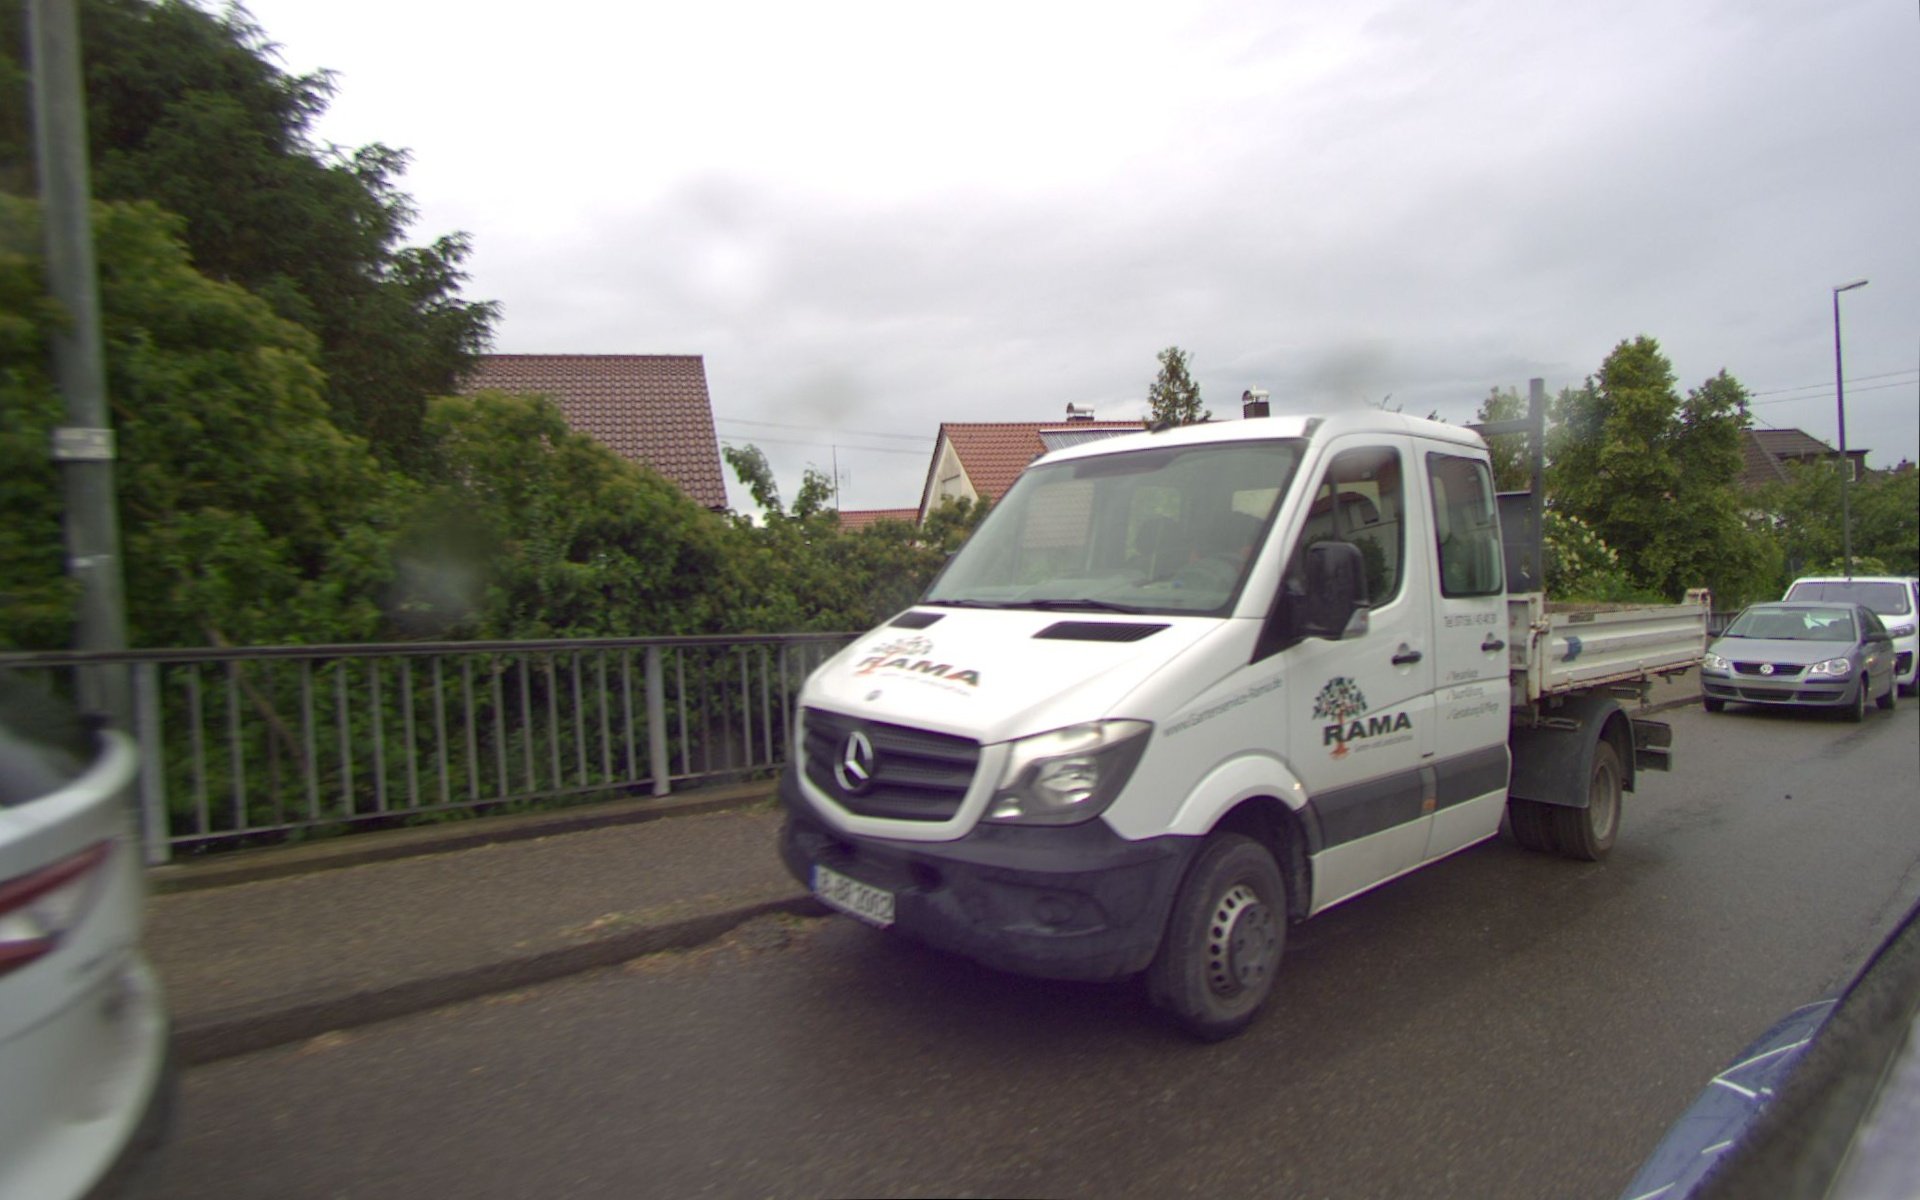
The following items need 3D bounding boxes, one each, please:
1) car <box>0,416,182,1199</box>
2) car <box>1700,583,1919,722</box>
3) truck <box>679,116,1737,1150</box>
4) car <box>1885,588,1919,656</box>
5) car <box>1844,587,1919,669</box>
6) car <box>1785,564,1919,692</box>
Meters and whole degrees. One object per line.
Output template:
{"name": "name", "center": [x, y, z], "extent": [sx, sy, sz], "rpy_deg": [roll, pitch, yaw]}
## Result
{"name": "car", "center": [-3.354, 0.595, 0.535], "extent": [4.586, 1.624, 1.762], "rpy_deg": [-1, 1, -41]}
{"name": "car", "center": [11.460, 0.566, 13.490], "extent": [3.892, 1.583, 1.651], "rpy_deg": [-1, 1, -39]}
{"name": "truck", "center": [1.964, 0.033, 5.532], "extent": [6.422, 2.664, 2.244], "rpy_deg": [-1, 1, -40]}
{"name": "car", "center": [24.044, 0.499, 24.483], "extent": [4.640, 1.525, 1.820], "rpy_deg": [-1, 1, -40]}
{"name": "car", "center": [20.094, 0.522, 21.253], "extent": [4.276, 1.560, 1.648], "rpy_deg": [-1, 1, -40]}
{"name": "car", "center": [15.616, 0.369, 17.194], "extent": [4.828, 1.905, 1.851], "rpy_deg": [-1, 1, -43]}
